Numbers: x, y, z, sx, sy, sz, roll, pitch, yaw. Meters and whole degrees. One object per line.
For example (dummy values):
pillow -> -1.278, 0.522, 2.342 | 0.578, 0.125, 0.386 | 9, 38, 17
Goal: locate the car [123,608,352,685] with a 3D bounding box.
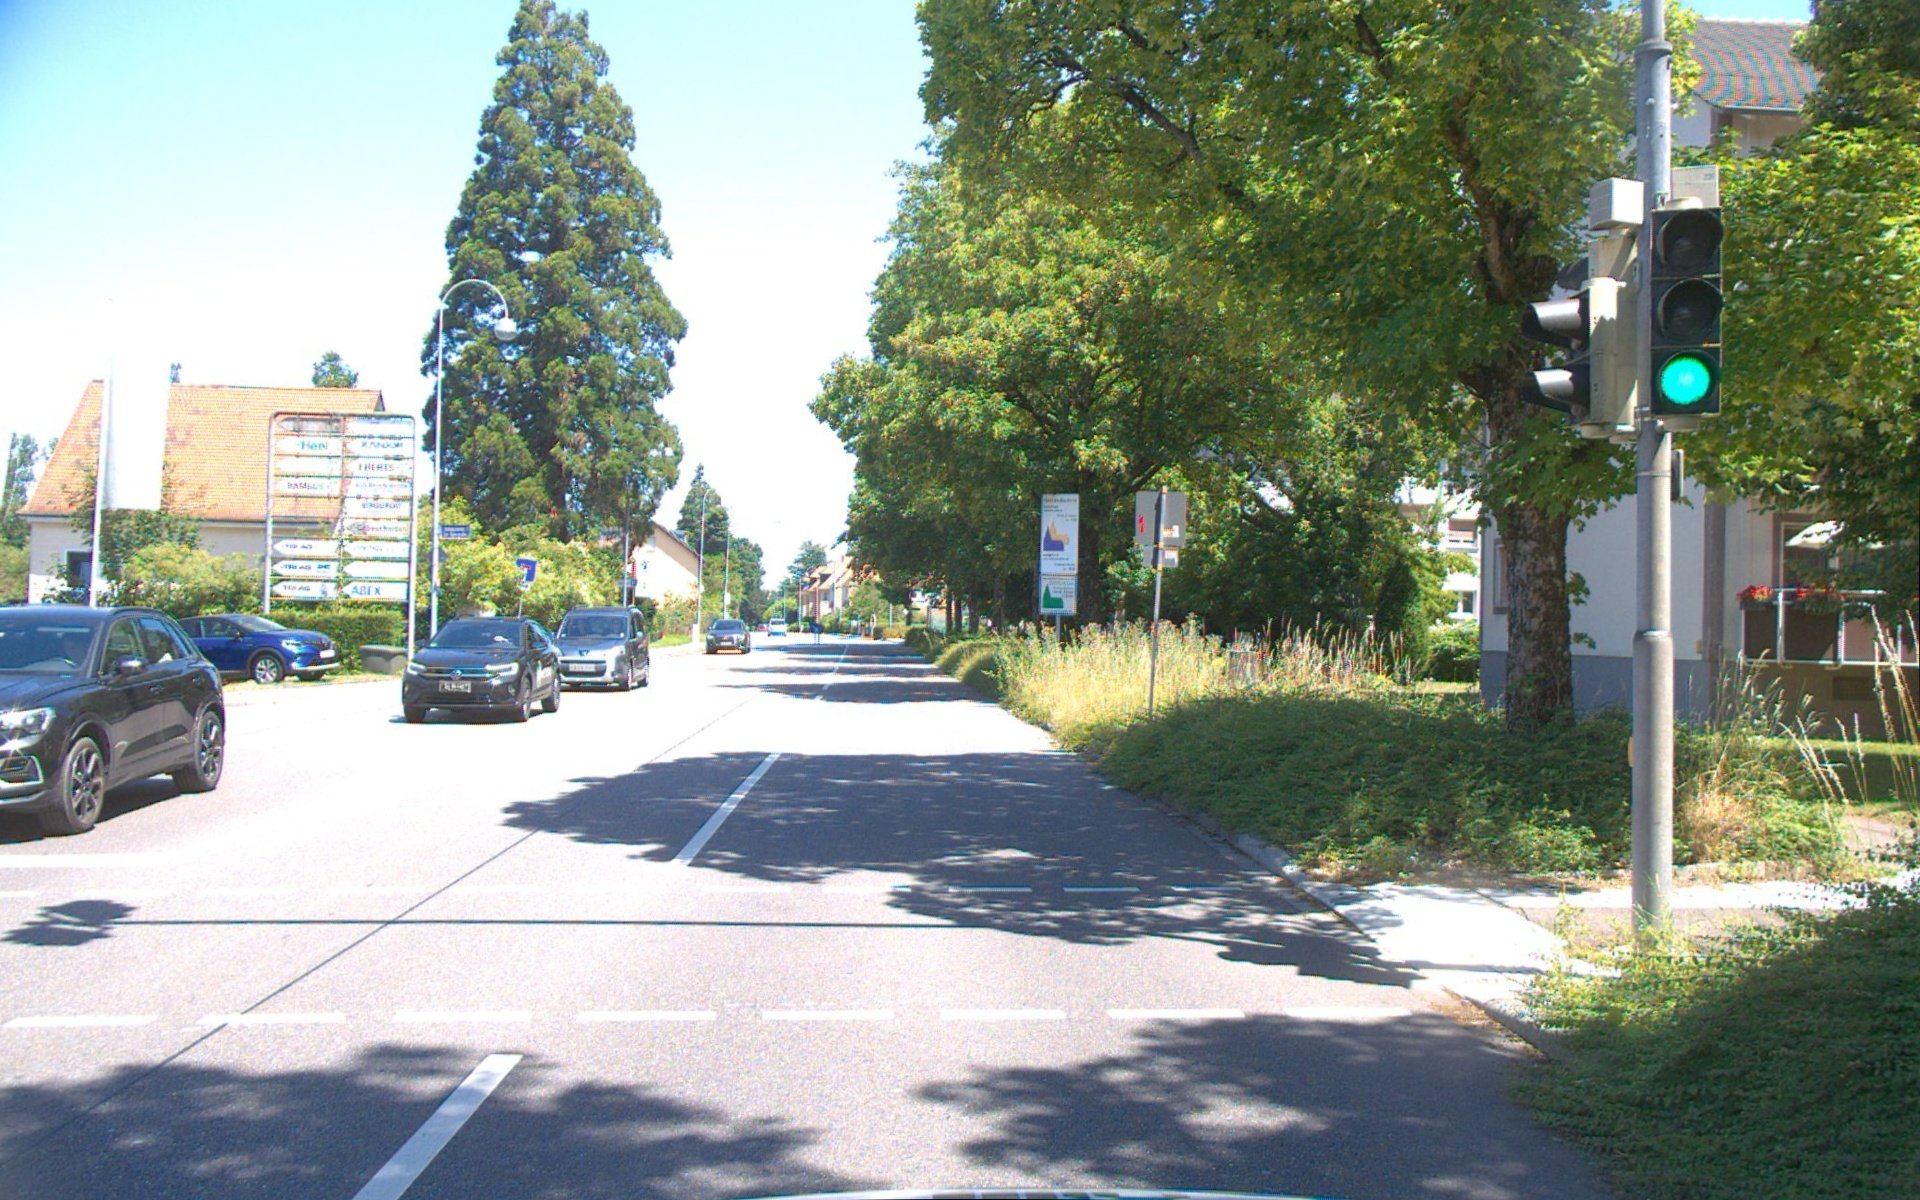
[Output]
car -> -15.098, 0.952, 34.651 | 4.047, 1.531, 1.779 | 0, -1, 8

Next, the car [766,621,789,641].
car -> -17.236, 2.897, 156.138 | 1.874, 1.718, 4.122 | 2, 1, -4

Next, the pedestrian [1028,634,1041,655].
pedestrian -> 4.261, 2.562, 95.110 | 0.689, 1.180, 0.754 | 1, -1, 0

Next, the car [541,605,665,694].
car -> -7.687, 1.036, 35.996 | 1.774, 1.793, 4.568 | 0, -1, -1

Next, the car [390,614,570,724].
car -> -7.171, 0.986, 25.125 | 1.832, 1.533, 4.048 | 0, -1, -5

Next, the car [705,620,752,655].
car -> -10.614, 1.702, 76.110 | 1.758, 1.563, 4.312 | 1, -1, -3

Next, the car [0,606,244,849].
car -> -7.192, 0.850, 12.788 | 1.890, 1.583, 4.295 | 0, -1, -7
